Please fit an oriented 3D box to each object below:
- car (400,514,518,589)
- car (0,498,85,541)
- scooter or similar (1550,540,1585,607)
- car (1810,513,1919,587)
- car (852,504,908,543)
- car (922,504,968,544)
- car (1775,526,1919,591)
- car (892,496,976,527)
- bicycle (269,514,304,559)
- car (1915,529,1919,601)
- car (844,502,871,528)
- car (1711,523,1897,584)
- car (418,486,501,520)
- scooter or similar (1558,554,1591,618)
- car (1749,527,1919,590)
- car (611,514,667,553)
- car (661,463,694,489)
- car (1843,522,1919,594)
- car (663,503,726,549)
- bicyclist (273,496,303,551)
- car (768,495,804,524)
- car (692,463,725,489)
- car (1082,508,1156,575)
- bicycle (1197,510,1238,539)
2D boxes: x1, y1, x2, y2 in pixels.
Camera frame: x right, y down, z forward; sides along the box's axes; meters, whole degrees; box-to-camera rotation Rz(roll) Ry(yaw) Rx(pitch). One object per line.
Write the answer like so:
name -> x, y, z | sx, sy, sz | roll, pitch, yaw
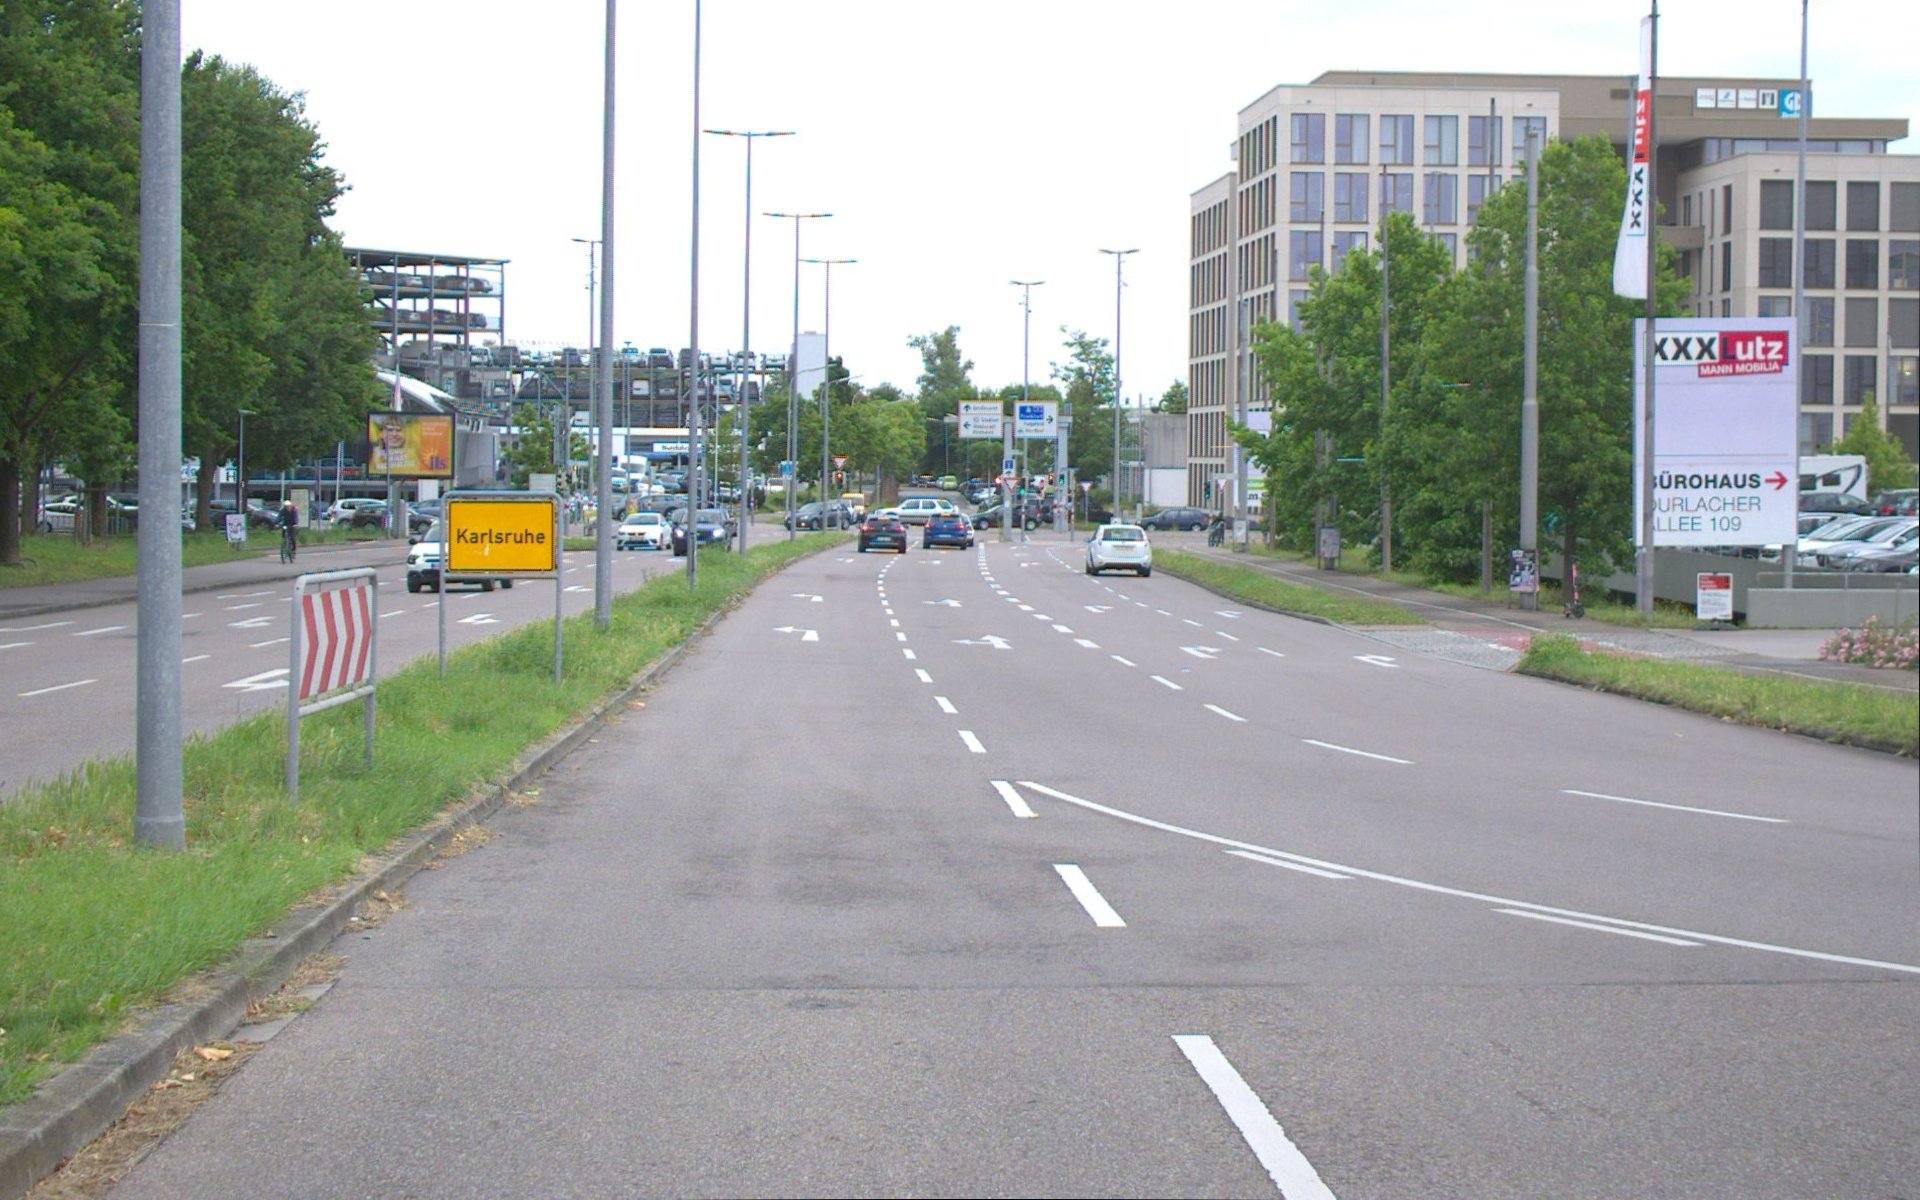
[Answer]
car -> -10.713, -1.063, 73.731 | 1.931, 1.514, 4.182 | -2, 1, -1
car -> -46.151, -3.999, 170.363 | 5.131, 1.956, 1.881 | -1, 7, -5
scooter or similar -> 13.188, -0.582, 74.662 | 0.650, 1.416, 1.818 | 0, 1, 7
car -> 21.332, -1.105, 77.115 | 4.054, 1.535, 1.764 | 1, 4, 0
car -> -2.985, -2.845, 128.143 | 1.987, 1.423, 4.242 | 1, 1, -2
car -> -0.646, -3.186, 143.487 | 1.835, 1.509, 4.001 | 2, 3, -1
car -> 21.127, -0.958, 79.540 | 4.053, 1.345, 1.835 | 1, 4, -2
car -> -1.438, -4.914, 190.122 | 4.415, 1.654, 2.001 | 1, 1, -7
bicycle -> -19.526, -1.839, 99.761 | 0.642, 1.246, 2.056 | 2, 2, -2
car -> 21.895, -0.622, 69.864 | 4.374, 1.456, 1.961 | 1, 4, 0
car -> -6.391, -5.320, 214.260 | 1.600, 1.448, 3.325 | 1, 4, 0
car -> 21.180, -1.175, 86.390 | 4.152, 1.345, 1.810 | 1, 4, -2
car -> -27.089, -5.275, 186.139 | 4.432, 1.705, 2.001 | 1, 3, -8
scooter or similar -> 11.871, -0.269, 66.405 | 0.370, 1.186, 1.248 | 0, 2, -2
car -> 21.188, -0.995, 82.422 | 4.053, 1.345, 1.764 | 1, 4, -2
car -> -12.475, -2.602, 133.917 | 1.866, 1.449, 4.169 | -1, 1, -1
car -> -20.213, -8.910, 246.110 | 1.776, 1.699, 3.916 | 1, 4, 5
car -> 21.566, -0.888, 74.266 | 4.465, 1.414, 1.867 | 1, 4, 0
car -> -8.932, -2.510, 115.943 | 1.931, 1.481, 4.440 | -1, 2, -2
bicyclist -> -19.493, -2.228, 99.767 | 0.640, 1.572, 1.000 | 2, 2, -2
car -> -9.132, -4.784, 180.593 | 1.780, 1.450, 4.183 | -1, 2, -1
car -> -18.023, -8.873, 246.151 | 1.776, 1.699, 3.916 | 1, 4, 5
car -> 4.685, -1.747, 101.695 | 1.993, 1.746, 4.181 | 1, 4, 0
bicycle -> 11.884, -3.485, 158.788 | 0.700, 1.291, 2.011 | 0, 3, -36
